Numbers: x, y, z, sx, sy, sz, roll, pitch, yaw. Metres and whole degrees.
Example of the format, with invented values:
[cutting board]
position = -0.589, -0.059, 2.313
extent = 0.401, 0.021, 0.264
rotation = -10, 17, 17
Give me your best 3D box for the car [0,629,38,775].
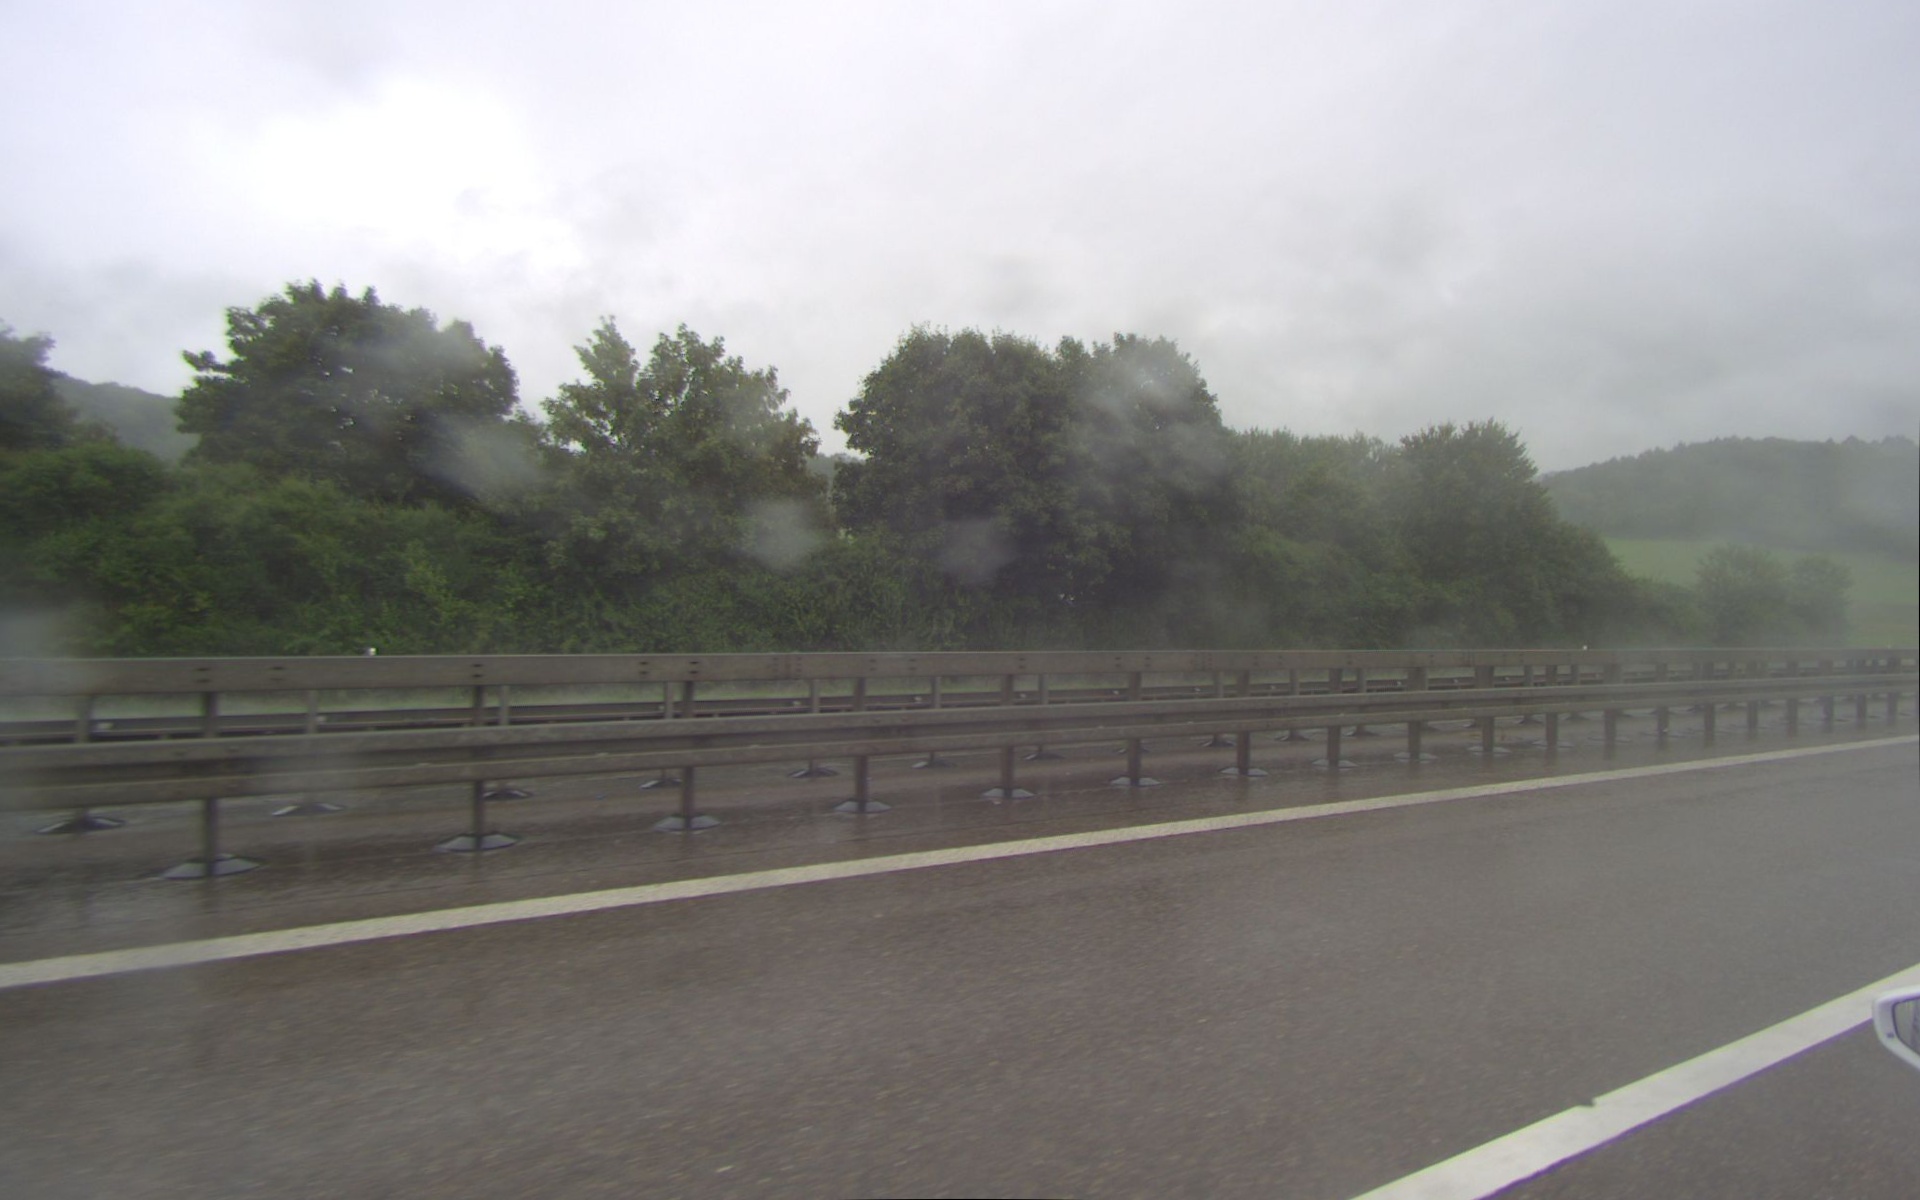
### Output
[car]
position = -13.746, 1.172, 10.826
extent = 5.242, 1.714, 1.984
rotation = 1, -2, -30
